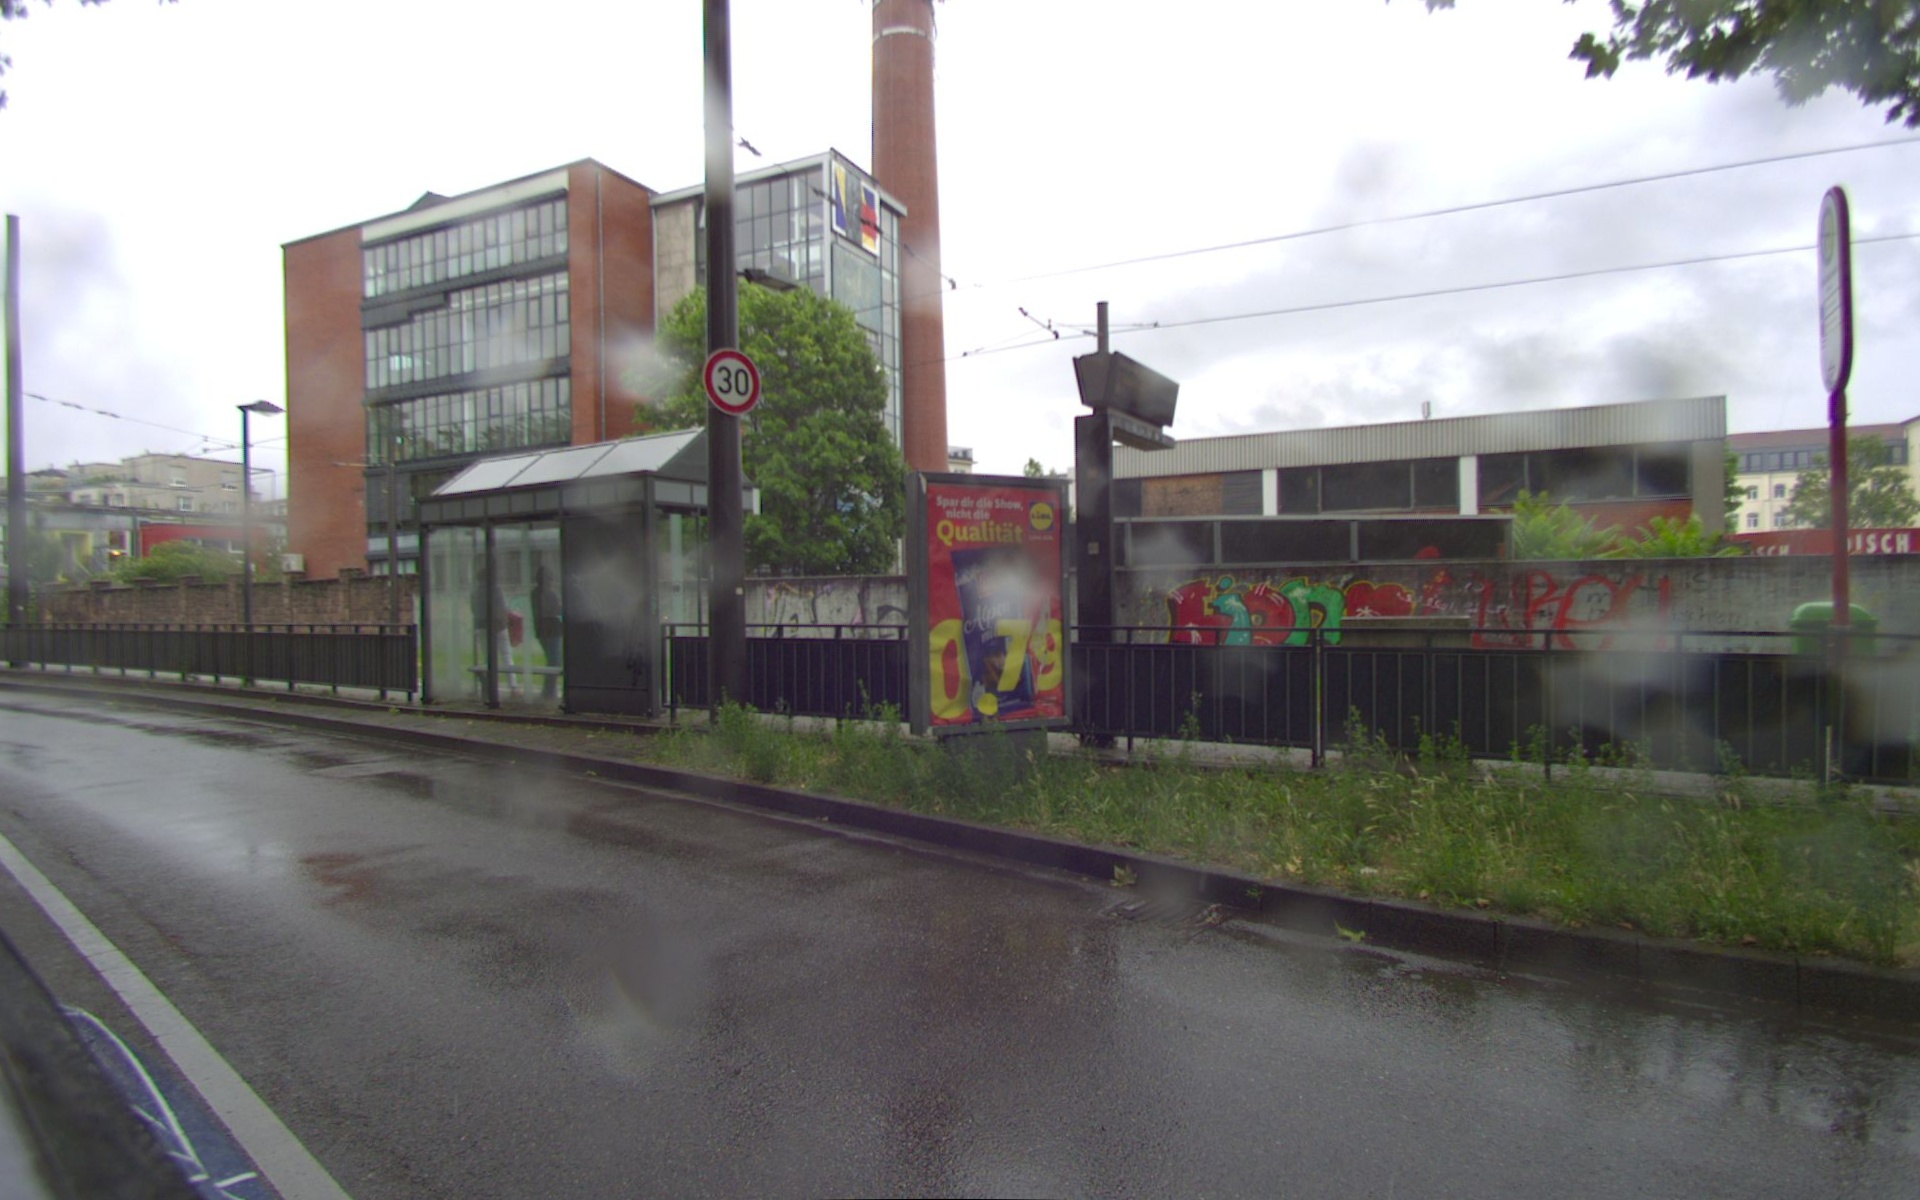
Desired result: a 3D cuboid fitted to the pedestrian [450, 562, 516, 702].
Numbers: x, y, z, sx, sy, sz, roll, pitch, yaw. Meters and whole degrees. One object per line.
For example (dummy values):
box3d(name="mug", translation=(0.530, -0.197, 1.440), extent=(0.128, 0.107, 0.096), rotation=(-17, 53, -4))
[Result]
box3d(name="pedestrian", translation=(-6.056, 0.403, 12.866), extent=(0.560, 1.744, 0.583), rotation=(0, -2, -1))

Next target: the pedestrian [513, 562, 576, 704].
box3d(name="pedestrian", translation=(-5.218, 0.412, 12.731), extent=(0.560, 1.744, 0.583), rotation=(0, -2, -3))

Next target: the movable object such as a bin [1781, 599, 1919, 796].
box3d(name="movable object such as a bin", translation=(5.237, 0.550, 5.942), extent=(0.528, 1.098, 0.414), rotation=(-1, -2, 25))
